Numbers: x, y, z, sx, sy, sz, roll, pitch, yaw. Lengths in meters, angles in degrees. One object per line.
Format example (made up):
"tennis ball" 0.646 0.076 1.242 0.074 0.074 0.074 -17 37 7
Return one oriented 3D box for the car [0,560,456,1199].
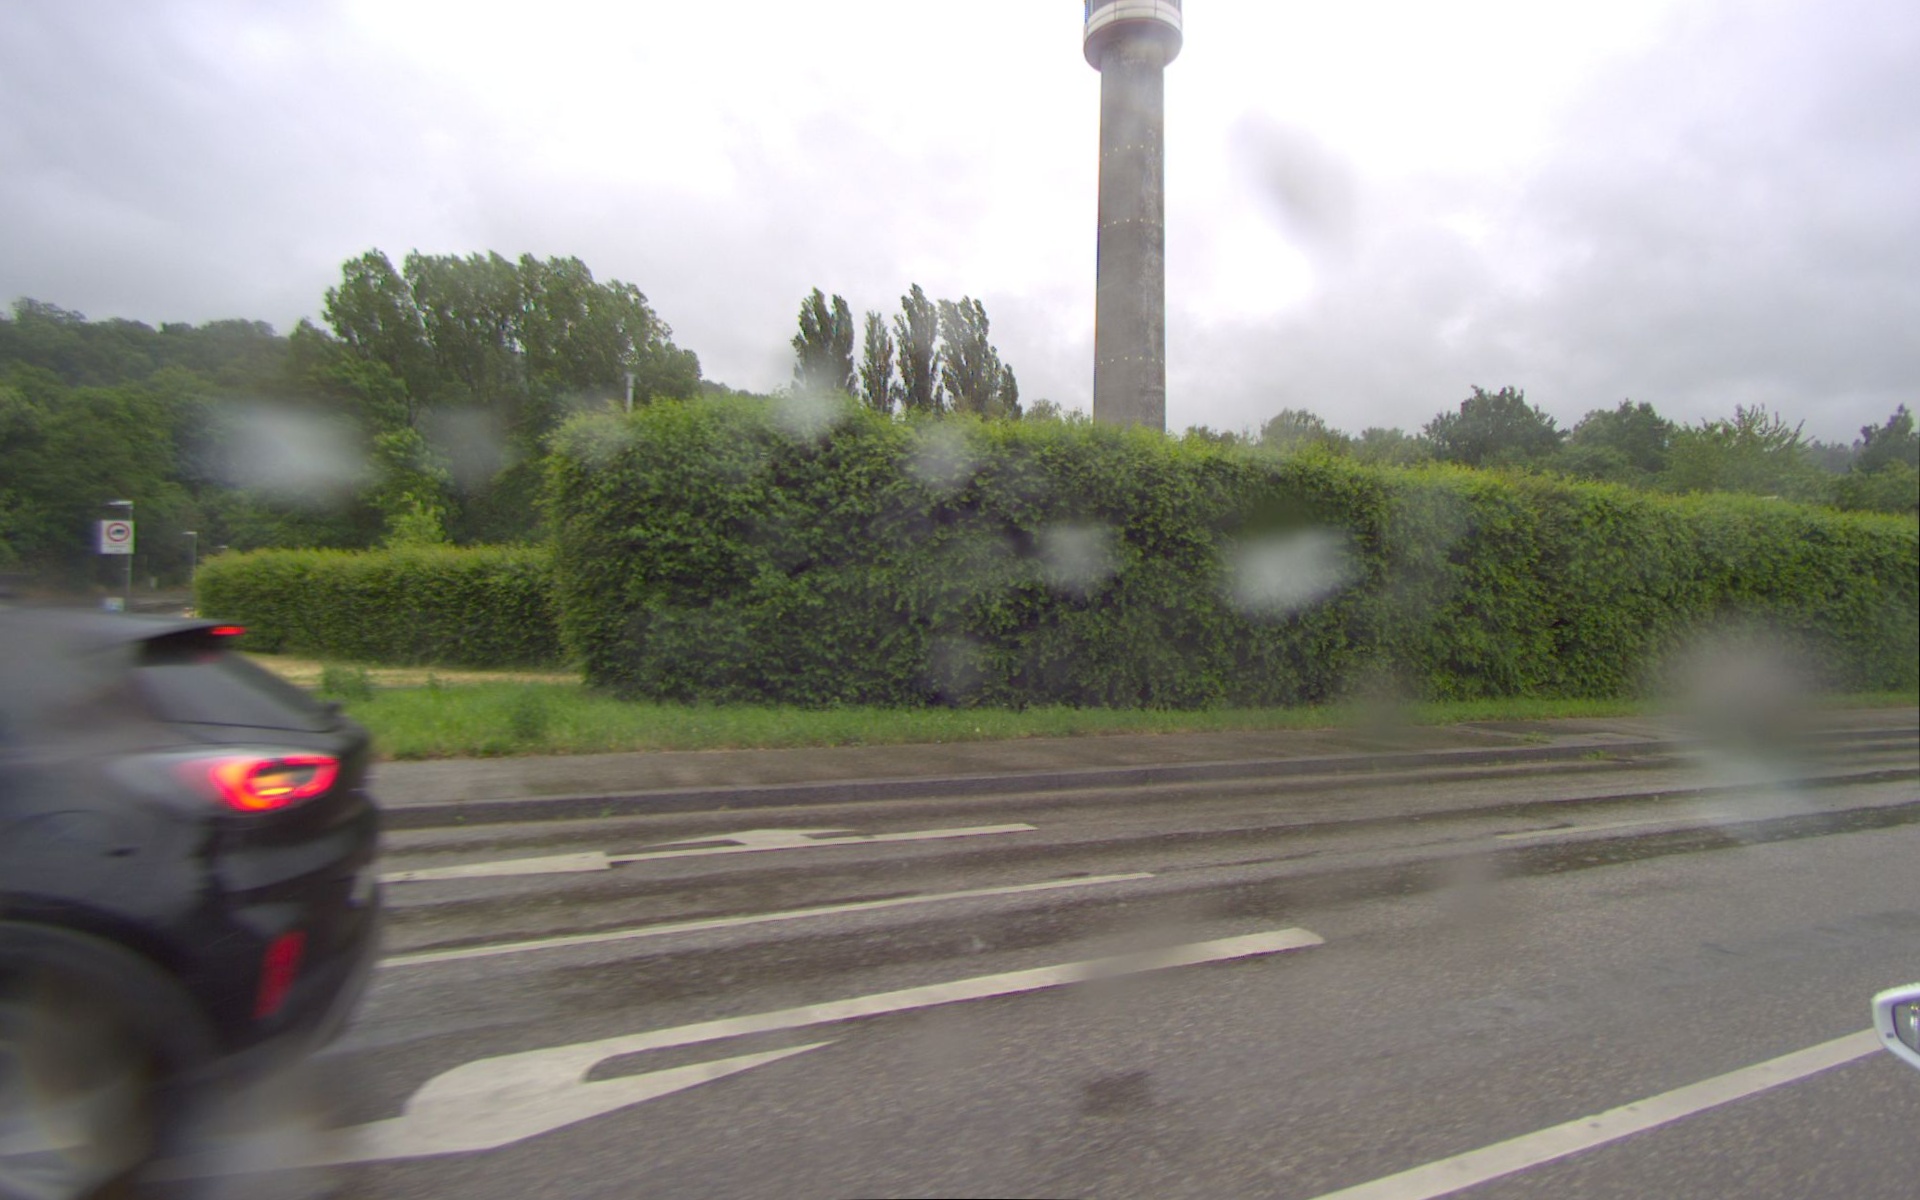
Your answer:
"car" -3.320 0.679 2.294 3.827 1.557 1.756 2 -2 -27
